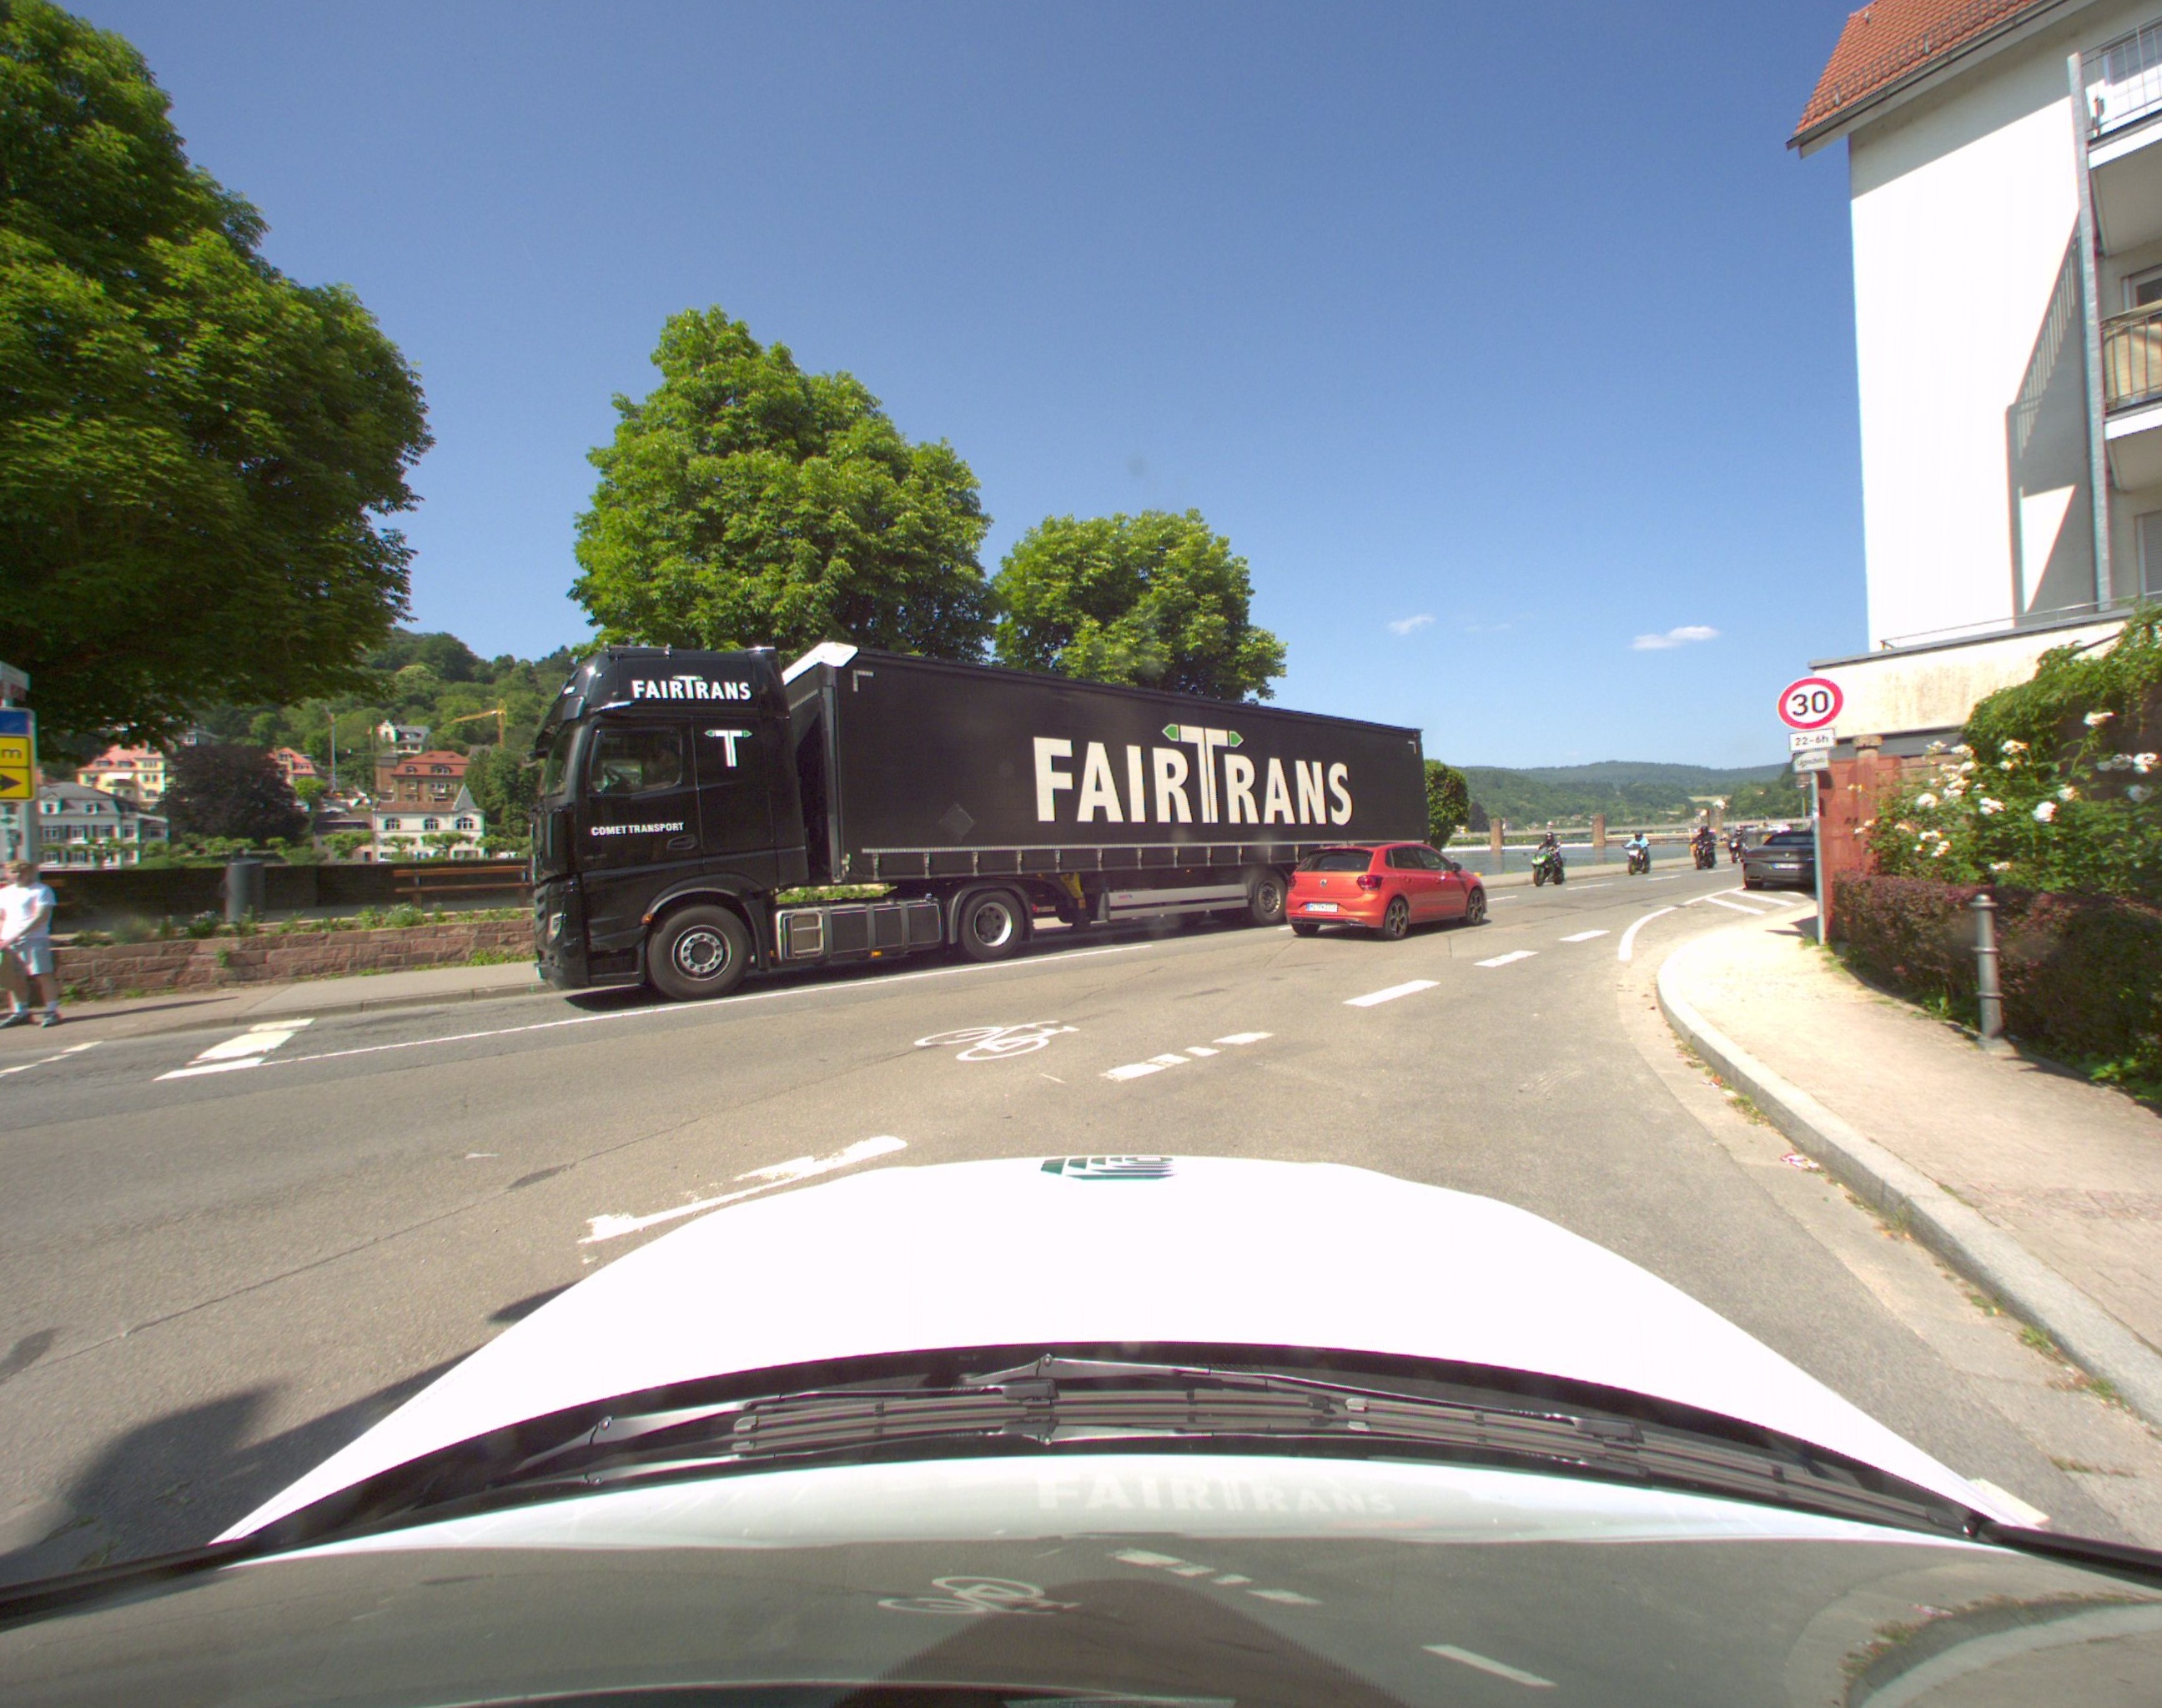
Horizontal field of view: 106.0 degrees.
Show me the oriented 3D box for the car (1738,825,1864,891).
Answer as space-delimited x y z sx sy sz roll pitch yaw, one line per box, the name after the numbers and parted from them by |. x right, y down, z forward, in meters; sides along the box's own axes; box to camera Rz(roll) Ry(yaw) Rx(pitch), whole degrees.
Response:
17.032 0.052 19.223 3.759 1.399 1.673 -2 1 -40 | car

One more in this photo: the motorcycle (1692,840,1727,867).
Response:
24.730 -0.028 32.034 1.824 1.024 0.651 -2 -1 -39 | motorcycle

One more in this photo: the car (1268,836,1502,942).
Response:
5.007 0.479 13.167 4.038 1.405 1.710 -2 0 -39 | car

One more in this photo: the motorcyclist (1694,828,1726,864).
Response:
24.803 -0.312 32.097 0.804 1.366 0.780 -2 -1 -39 | motorcyclist

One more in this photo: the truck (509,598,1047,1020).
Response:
-3.795 -0.465 10.786 5.961 4.071 2.807 -2 -2 -38 | truck

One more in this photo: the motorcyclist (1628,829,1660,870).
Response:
21.531 -0.179 31.140 0.996 1.525 0.657 -2 -2 -39 | motorcyclist

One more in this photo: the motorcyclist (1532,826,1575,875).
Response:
14.839 -0.112 25.572 0.996 1.460 0.772 -2 -2 -39 | motorcyclist

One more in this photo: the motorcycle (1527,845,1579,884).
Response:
14.803 0.308 25.522 2.103 1.123 0.628 -2 -3 -39 | motorcycle

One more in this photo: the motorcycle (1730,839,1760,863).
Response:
30.301 -0.157 37.141 1.824 1.024 0.651 -2 -1 -39 | motorcycle

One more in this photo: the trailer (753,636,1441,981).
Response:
1.602 -0.690 15.032 13.839 4.104 2.810 -2 -2 -38 | trailer

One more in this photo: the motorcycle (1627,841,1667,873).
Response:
21.764 0.114 31.320 2.103 1.123 0.628 -2 -3 -39 | motorcycle

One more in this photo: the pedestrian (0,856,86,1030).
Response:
-11.436 0.943 8.814 0.709 1.802 0.573 -2 -1 -39 | pedestrian

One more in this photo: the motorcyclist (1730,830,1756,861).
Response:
30.139 -0.406 37.071 0.941 1.366 0.711 -2 -1 -39 | motorcyclist
